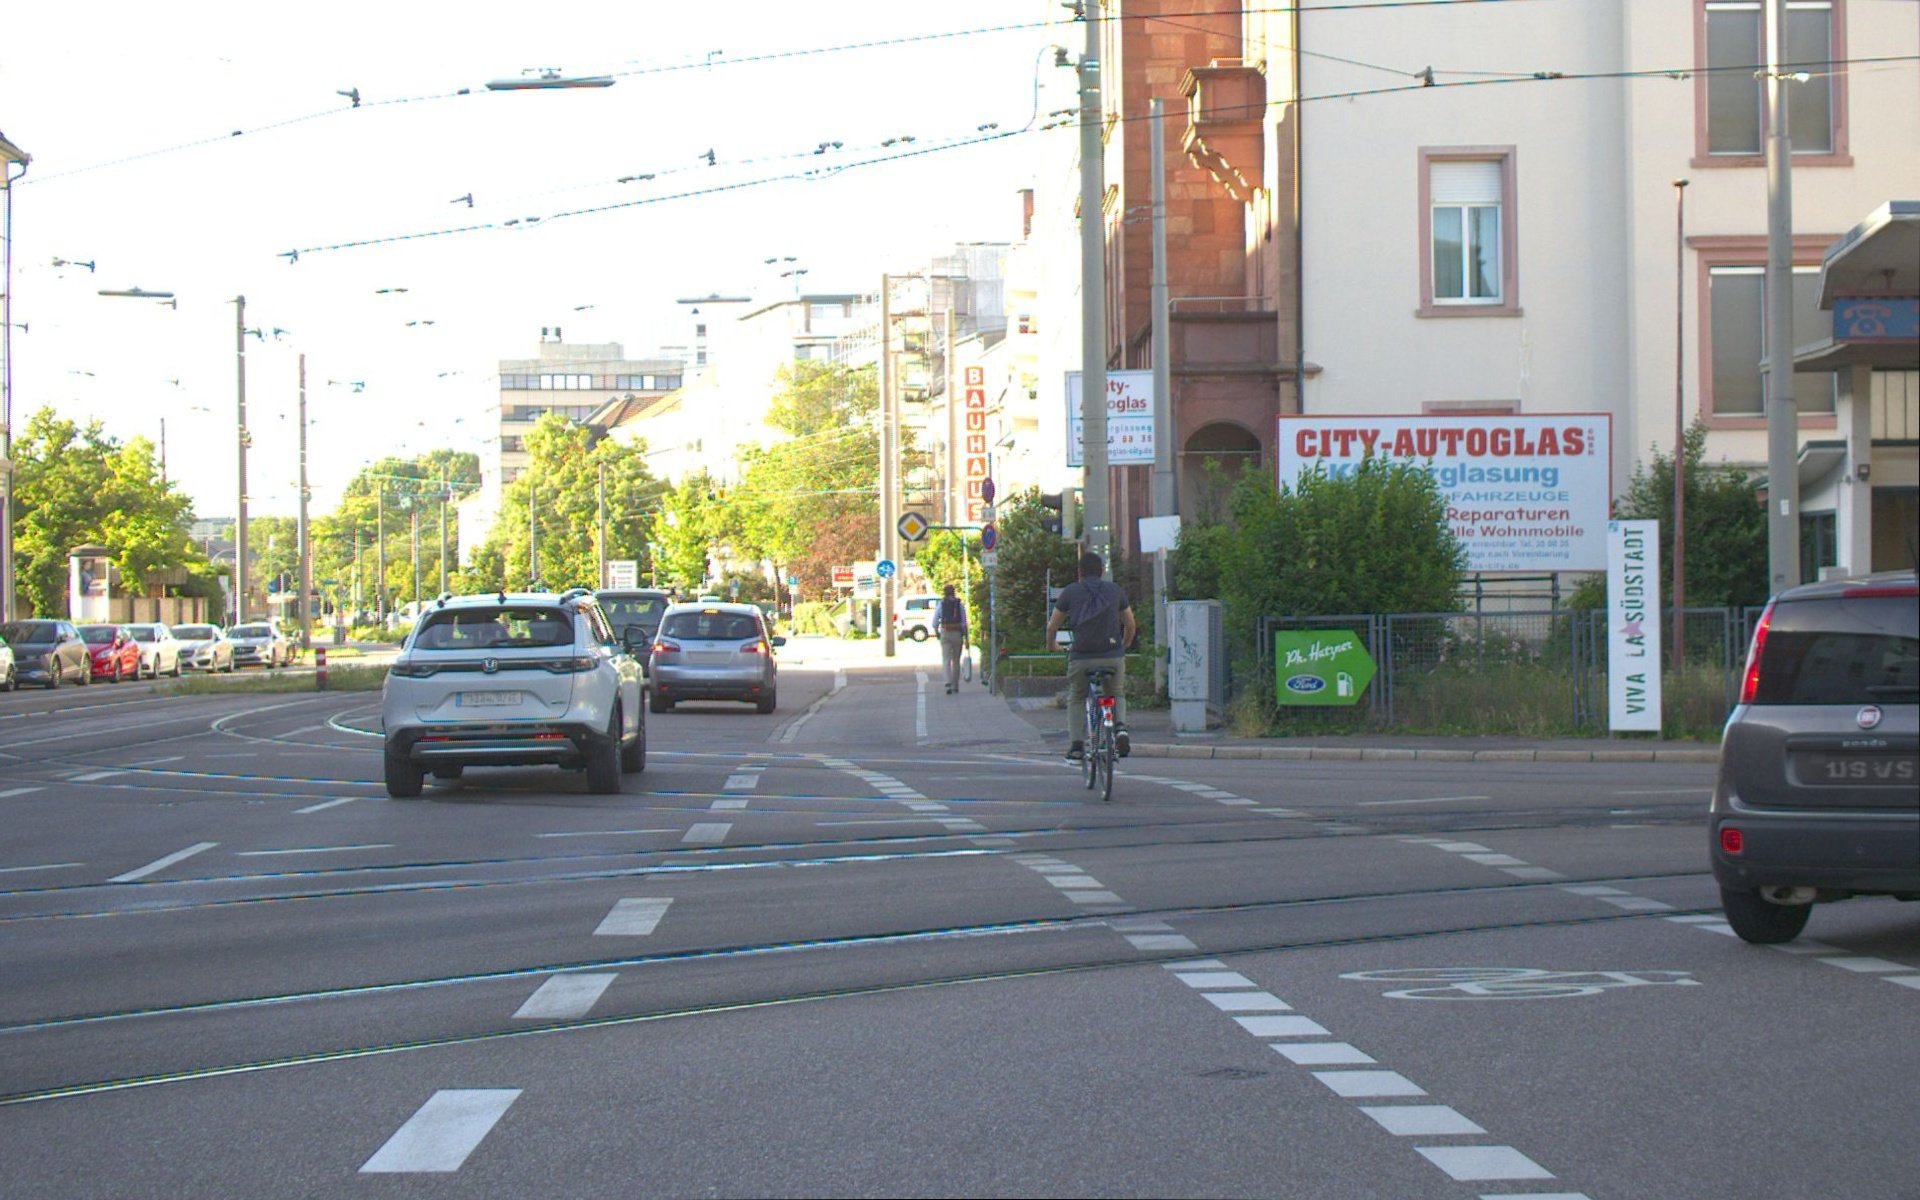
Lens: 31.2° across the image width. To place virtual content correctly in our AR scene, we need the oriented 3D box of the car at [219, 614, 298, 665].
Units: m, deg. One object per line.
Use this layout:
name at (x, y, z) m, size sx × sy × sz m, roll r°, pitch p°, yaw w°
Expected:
car at (-22.266, 1.235, 109.279) m, size 1.719 × 1.547 × 4.000 m, roll -1°, pitch 0°, yaw 0°

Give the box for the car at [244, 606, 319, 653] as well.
car at (-22.728, 0.978, 115.292) m, size 1.719 × 1.547 × 4.000 m, roll -1°, pitch 0°, yaw 0°

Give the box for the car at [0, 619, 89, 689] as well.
car at (-21.490, 1.225, 79.450) m, size 1.719 × 1.547 × 4.000 m, roll -1°, pitch 0°, yaw 0°

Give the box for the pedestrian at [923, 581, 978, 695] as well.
pedestrian at (-0.148, 0.609, 55.499) m, size 0.875 × 1.818 × 1.184 m, roll 0°, pitch 0°, yaw 1°

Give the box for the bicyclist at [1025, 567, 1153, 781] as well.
bicyclist at (0.943, 0.526, 24.910) m, size 0.834 × 1.520 × 0.993 m, roll 0°, pitch 0°, yaw 8°

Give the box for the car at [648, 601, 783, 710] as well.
car at (-3.661, 0.816, 52.001) m, size 1.814 × 1.577 × 4.000 m, roll 0°, pitch 0°, yaw -1°

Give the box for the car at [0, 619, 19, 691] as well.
car at (-21.750, 1.209, 74.373) m, size 1.719 × 1.547 × 4.000 m, roll -1°, pitch 0°, yaw 0°

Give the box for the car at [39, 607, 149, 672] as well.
car at (-21.481, 0.972, 85.410) m, size 1.719 × 1.547 × 4.000 m, roll -1°, pitch 0°, yaw 0°

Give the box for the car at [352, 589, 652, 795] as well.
car at (-3.576, 0.678, 27.505) m, size 1.947 × 1.523 × 4.090 m, roll 0°, pitch 0°, yaw -1°

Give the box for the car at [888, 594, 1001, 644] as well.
car at (-0.627, 0.761, 137.851) m, size 4.257 × 2.007 × 2.000 m, roll 0°, pitch 0°, yaw -9°

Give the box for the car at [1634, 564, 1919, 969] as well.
car at (4.587, 0.614, 14.429) m, size 1.735 × 1.495 × 3.991 m, roll 0°, pitch 0°, yaw 40°

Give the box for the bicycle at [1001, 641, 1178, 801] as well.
bicycle at (0.909, 0.847, 24.680) m, size 0.770 × 1.082 × 1.871 m, roll 0°, pitch 0°, yaw -14°

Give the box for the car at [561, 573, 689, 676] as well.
car at (-6.751, 0.486, 69.707) m, size 2.172 × 2.002 × 4.808 m, roll -1°, pitch 0°, yaw -1°

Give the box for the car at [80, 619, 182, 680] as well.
car at (-21.709, 1.282, 90.153) m, size 1.719 × 1.547 × 4.000 m, roll -1°, pitch 0°, yaw 0°

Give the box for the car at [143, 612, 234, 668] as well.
car at (-22.052, 1.130, 98.420) m, size 1.719 × 1.547 × 4.000 m, roll 0°, pitch 0°, yaw 0°
